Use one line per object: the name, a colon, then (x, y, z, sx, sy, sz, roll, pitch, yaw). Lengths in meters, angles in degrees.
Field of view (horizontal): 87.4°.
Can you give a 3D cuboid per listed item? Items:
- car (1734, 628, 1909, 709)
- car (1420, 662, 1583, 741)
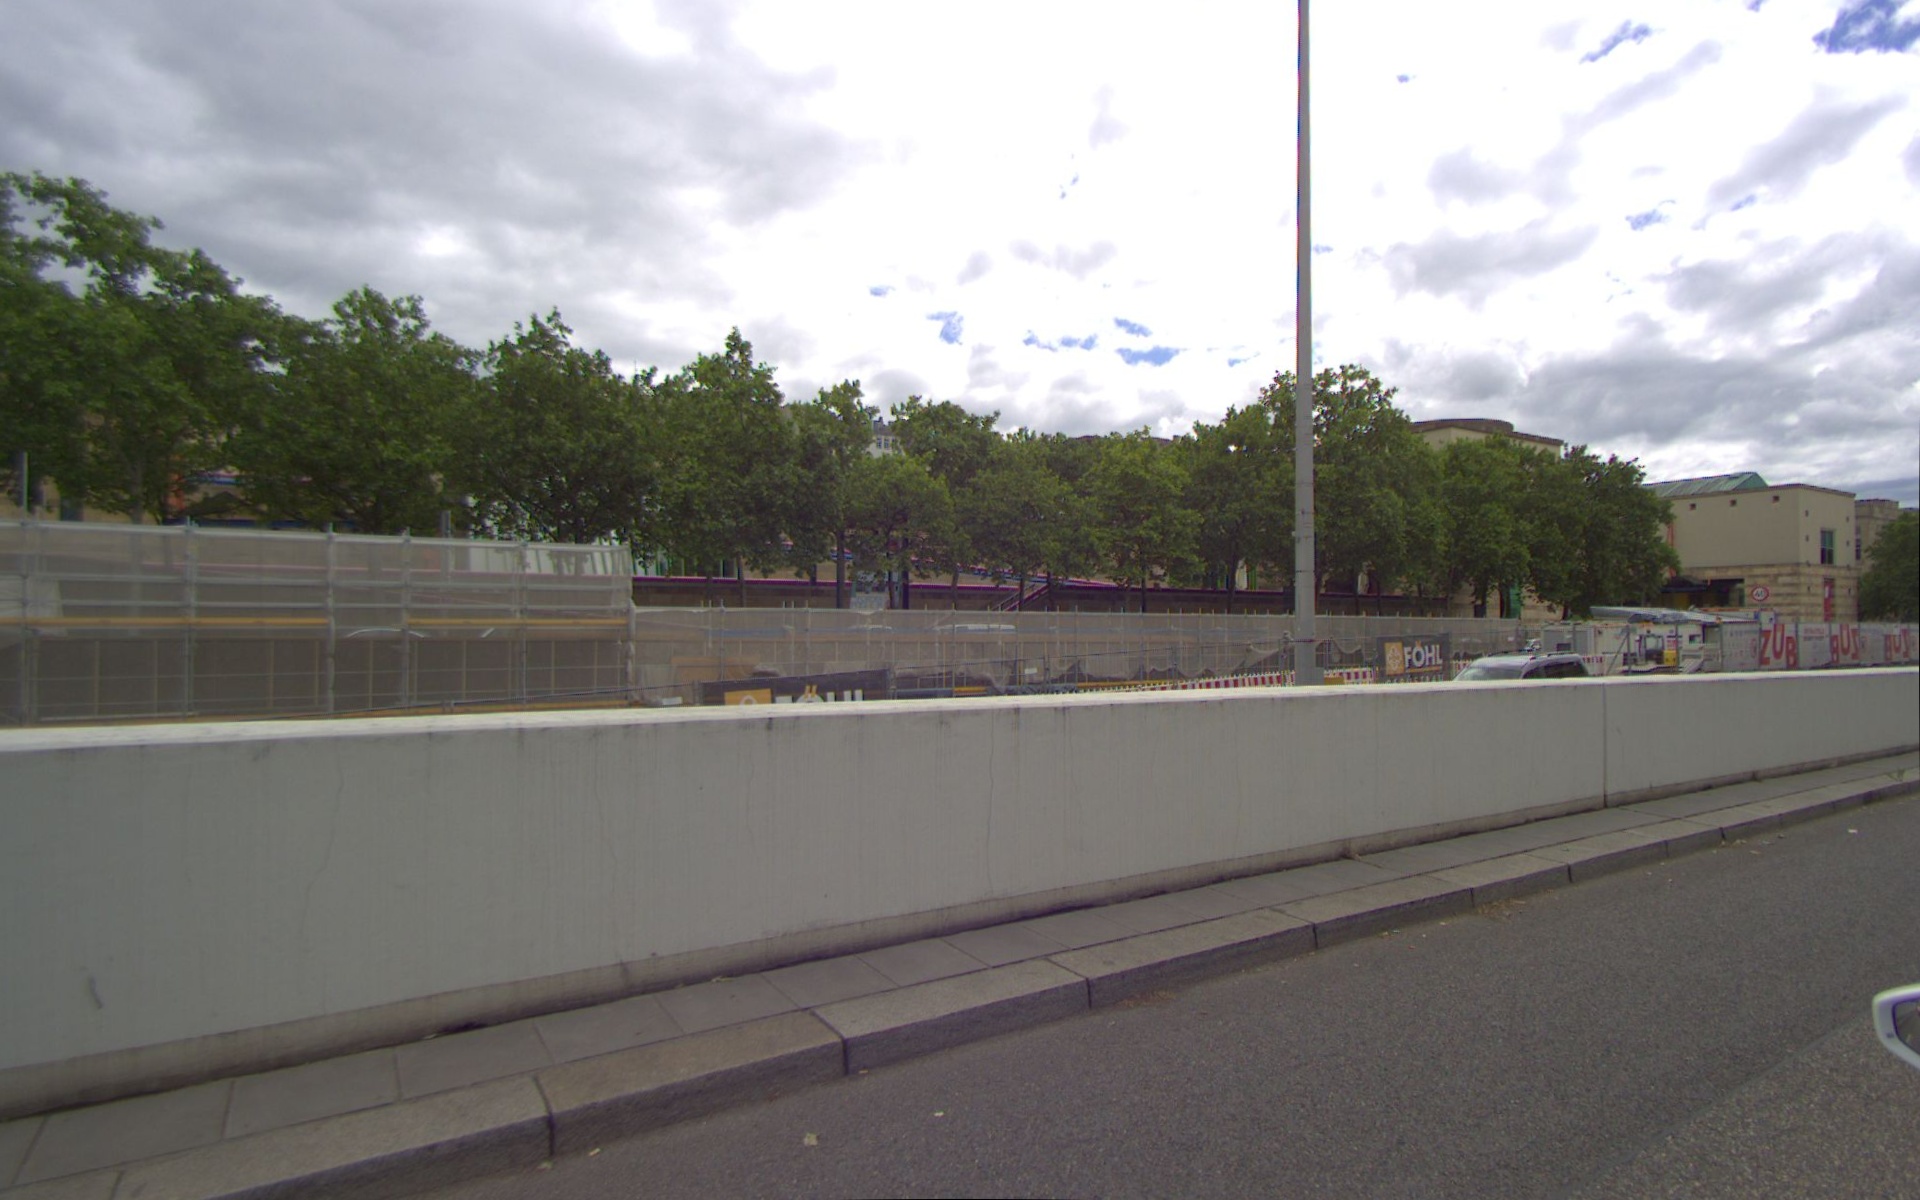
car: (19.490, 1.487, 22.696, 3.957, 1.663, 1.982, 2, -2, -33)
car: (12.103, 2.220, 22.427, 3.339, 1.588, 1.742, 1, -4, -32)
